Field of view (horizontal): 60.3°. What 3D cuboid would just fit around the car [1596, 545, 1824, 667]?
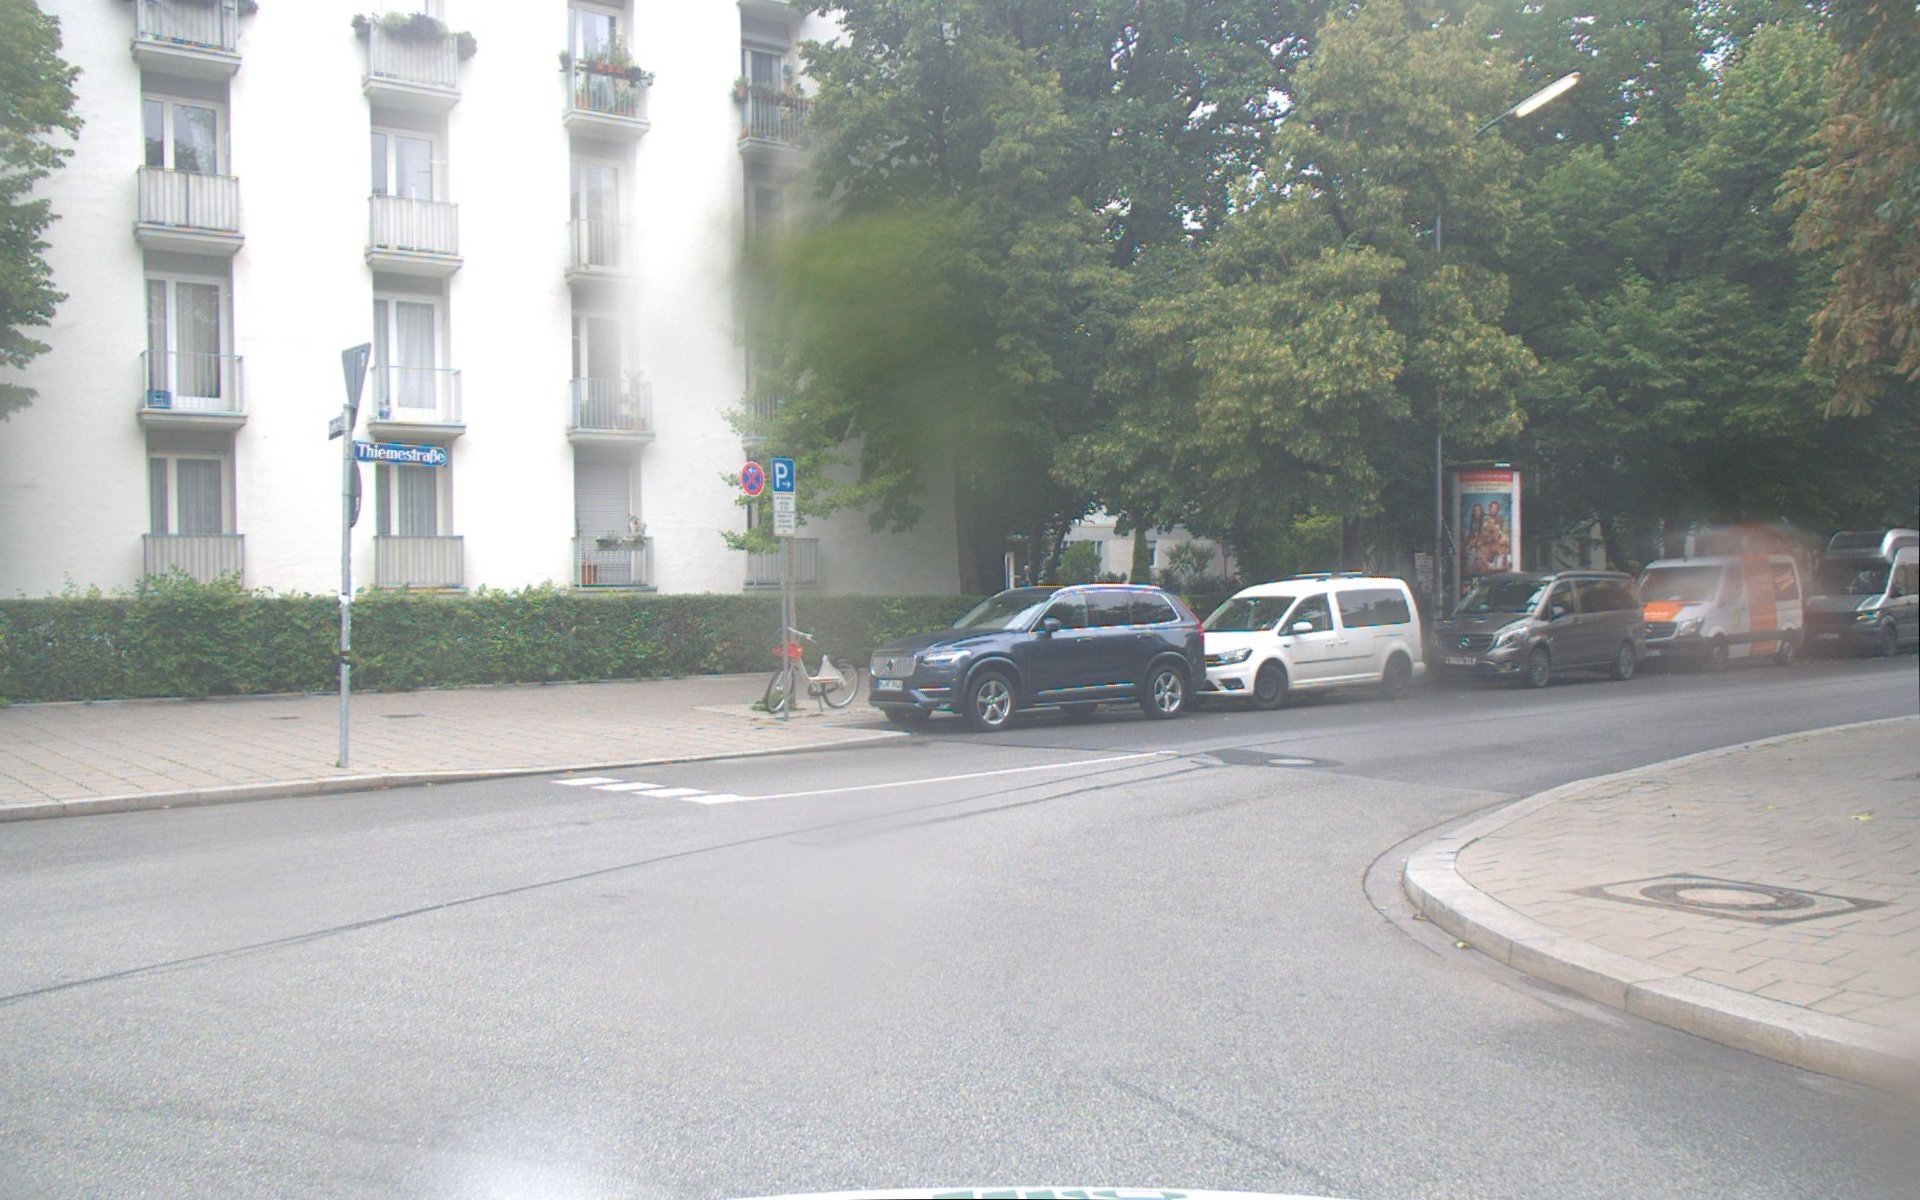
[{"bbox_3d":[15.474,0.102,33.975,5.551,2.304,2.060,-1,-1,-41],"label":"car"}]

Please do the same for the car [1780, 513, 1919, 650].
[{"bbox_3d":[22.119,-0.457,39.781,6.179,3.055,2.147,-1,0,-42],"label":"car"}]

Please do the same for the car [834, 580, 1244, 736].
[{"bbox_3d":[1.124,0.648,21.378,5.251,1.749,2.062,-1,0,-39],"label":"car"}]

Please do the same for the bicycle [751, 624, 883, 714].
[{"bbox_3d":[-1.901,0.906,22.192,0.739,1.104,1.776,-1,0,39],"label":"bicycle"}]

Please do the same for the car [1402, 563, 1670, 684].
[{"bbox_3d":[10.248,0.369,29.169,5.619,1.941,2.001,-1,-1,-42],"label":"car"}]

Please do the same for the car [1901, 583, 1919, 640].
[{"bbox_3d":[26.482,0.263,43.520,3.969,1.445,1.968,-1,1,-44],"label":"car"}]

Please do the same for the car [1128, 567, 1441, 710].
[{"bbox_3d":[4.944,0.502,24.830,4.812,1.937,2.060,-1,0,-40],"label":"car"}]
